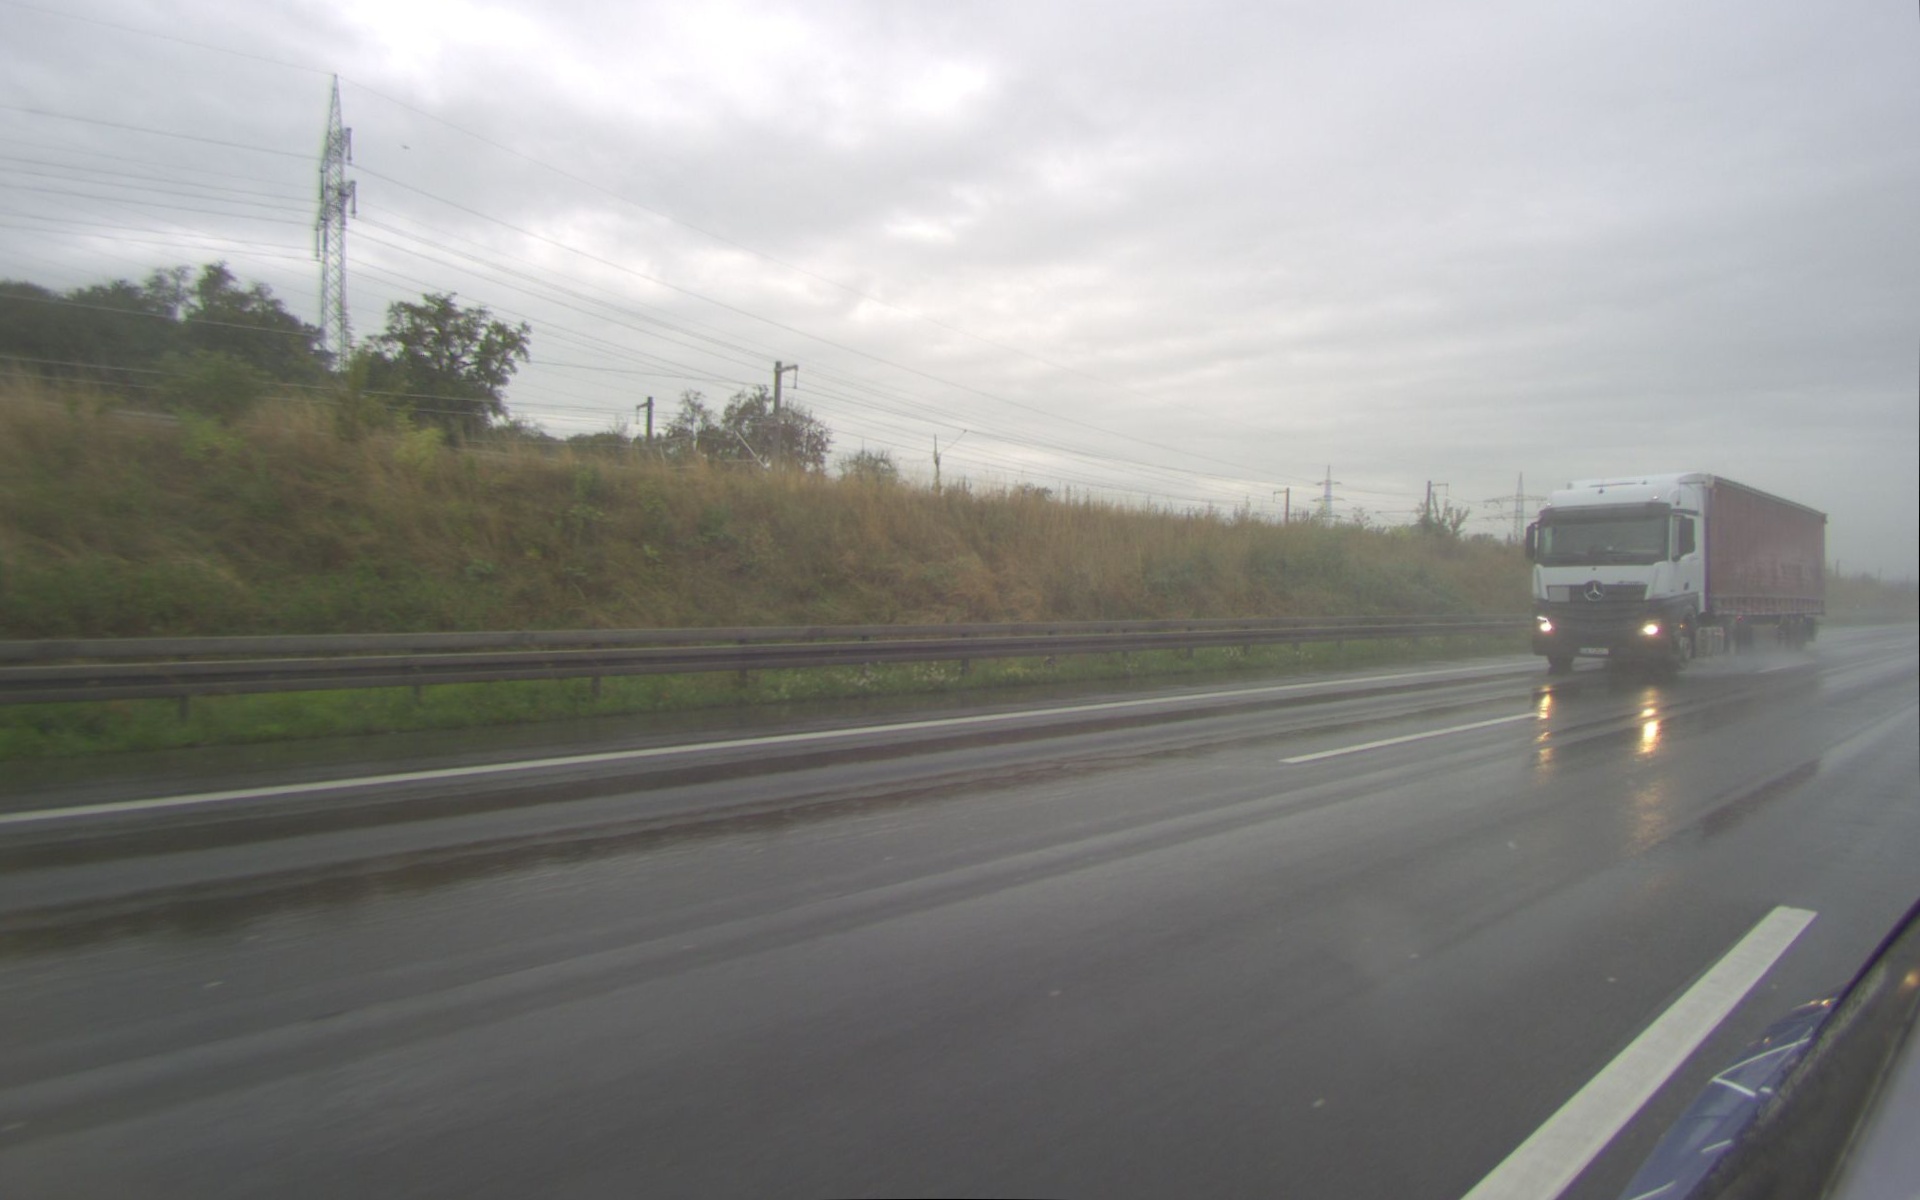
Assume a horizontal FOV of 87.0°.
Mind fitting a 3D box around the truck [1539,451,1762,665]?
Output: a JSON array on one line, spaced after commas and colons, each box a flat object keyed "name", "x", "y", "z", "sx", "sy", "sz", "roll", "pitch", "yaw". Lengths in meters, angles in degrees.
[{"name": "truck", "x": 14.876, "y": -0.783, "z": 21.621, "sx": 6.090, "sy": 3.938, "sz": 2.456, "roll": 0, "pitch": 0, "yaw": -41}]

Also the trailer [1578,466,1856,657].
[{"name": "trailer", "x": 20.429, "y": -0.774, "z": 26.517, "sx": 16.255, "sy": 3.813, "sz": 2.484, "roll": 0, "pitch": 0, "yaw": -41}]
